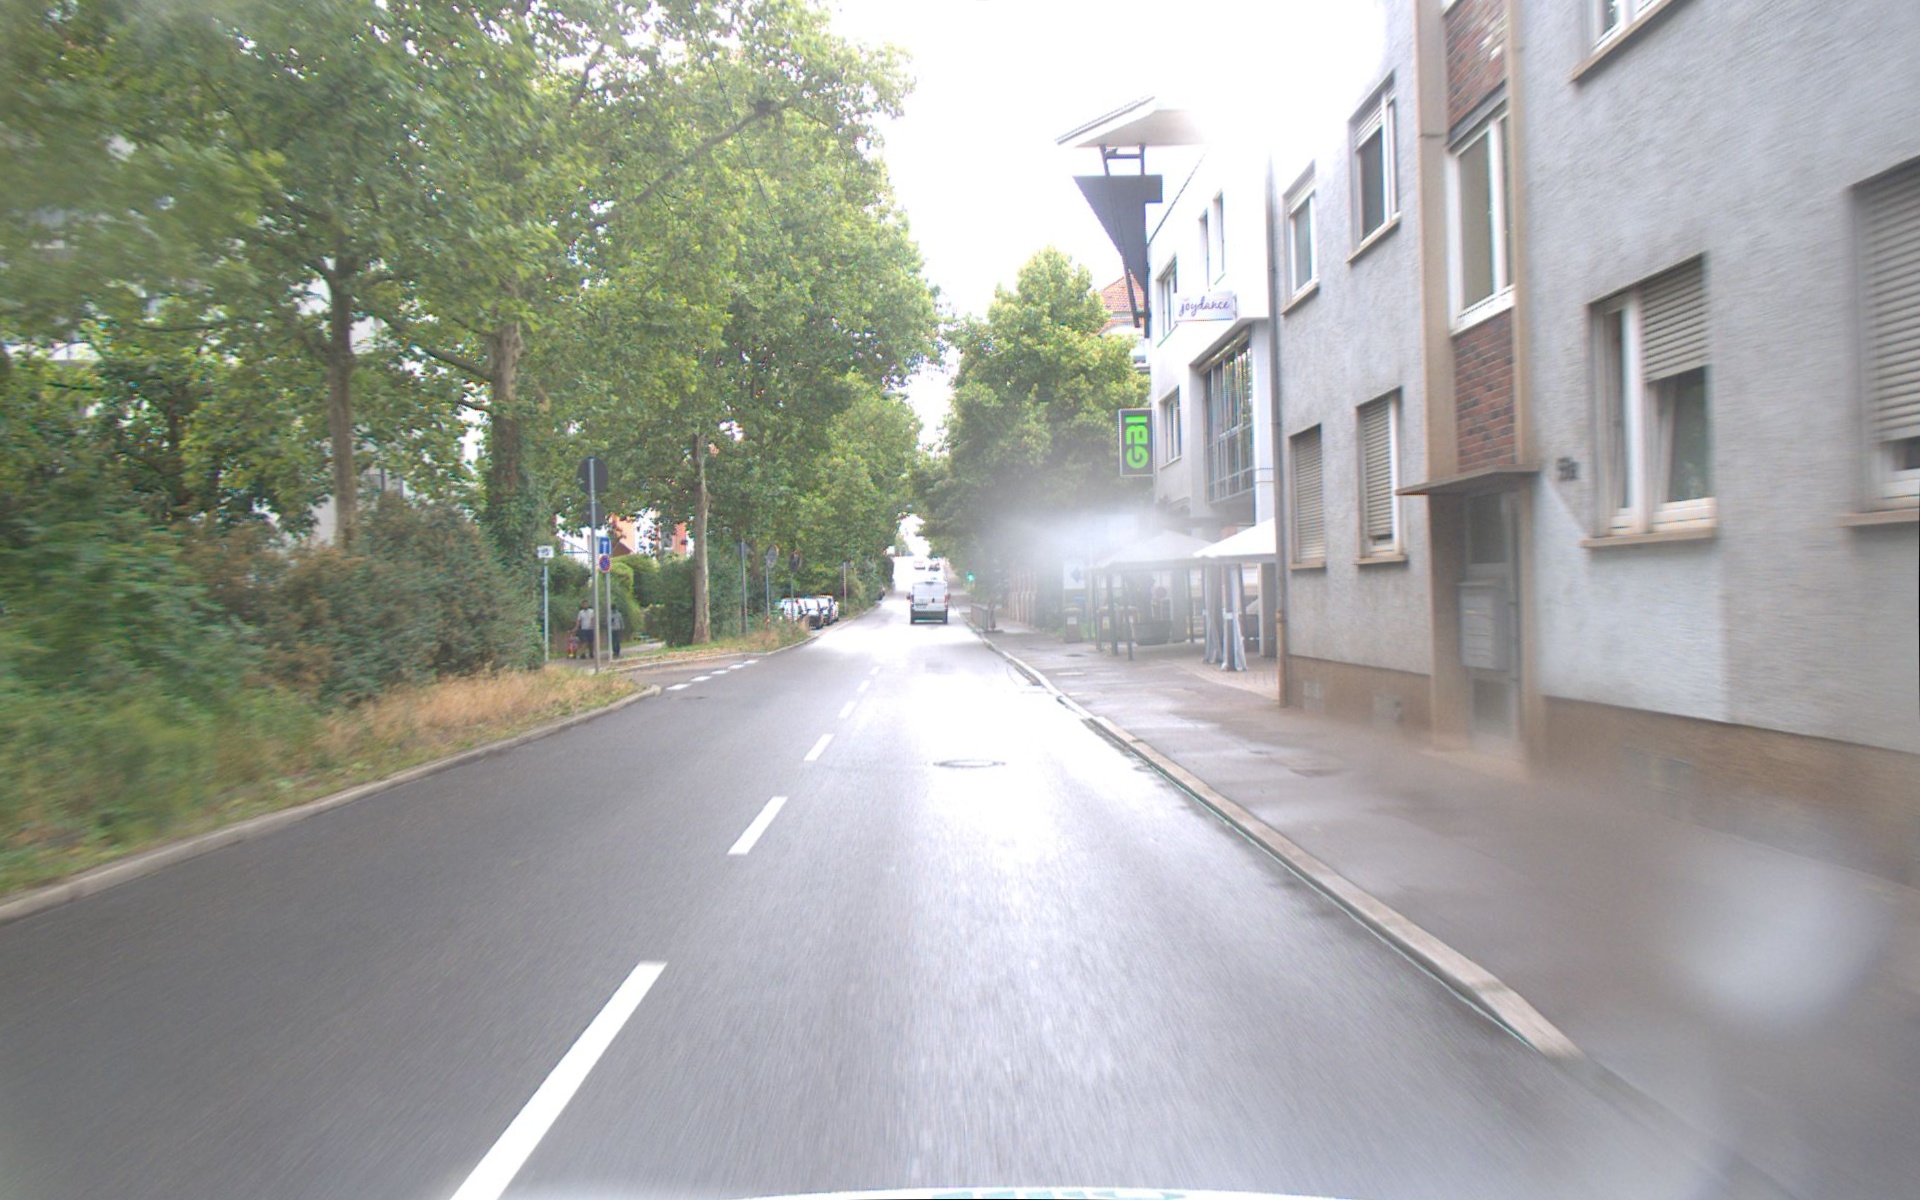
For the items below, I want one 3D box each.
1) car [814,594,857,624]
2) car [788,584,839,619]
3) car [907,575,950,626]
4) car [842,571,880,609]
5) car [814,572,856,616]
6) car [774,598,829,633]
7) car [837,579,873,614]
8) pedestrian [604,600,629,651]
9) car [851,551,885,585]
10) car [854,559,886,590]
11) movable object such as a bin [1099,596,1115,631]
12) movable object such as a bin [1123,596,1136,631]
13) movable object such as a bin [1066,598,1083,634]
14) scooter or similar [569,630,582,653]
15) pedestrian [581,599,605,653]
[{"bbox_3d":[-7.453,0.559,99.446,2.170,1.721,4.609,0,-2,1],"label":"car"},{"bbox_3d":[-7.664,0.113,86.665,2.170,1.759,4.609,0,-1,1],"label":"car"},{"bbox_3d":[-1.663,0.046,88.947,2.236,2.597,3.999,-1,-2,-1],"label":"car"},{"bbox_3d":[-6.558,-0.634,109.854,2.170,2.334,4.609,0,-2,1],"label":"car"},{"bbox_3d":[-7.877,-0.358,104.743,2.170,2.578,4.609,0,-2,1],"label":"car"},{"bbox_3d":[-7.689,0.772,80.578,2.170,1.620,4.609,0,-2,1],"label":"car"},{"bbox_3d":[-7.538,-0.222,119.255,2.170,2.334,4.609,0,-2,1],"label":"car"},{"bbox_3d":[-10.928,0.812,52.633,0.667,1.598,0.622,0,-1,-4],"label":"pedestrian"},{"bbox_3d":[-6.984,-2.424,126.075,2.170,2.334,4.609,0,-3,1],"label":"car"},{"bbox_3d":[-7.233,-2.022,133.516,2.169,2.334,4.610,0,-2,2],"label":"car"},{"bbox_3d":[4.601,0.437,51.755,0.392,1.085,0.358,-1,-2,-7],"label":"movable object such as a bin"},{"bbox_3d":[5.296,0.411,51.760,0.349,1.085,0.358,0,-2,-7],"label":"movable object such as a bin"},{"bbox_3d":[3.584,0.508,51.734,0.392,1.085,0.358,-4,-1,-7],"label":"movable object such as a bin"},{"bbox_3d":[-11.617,1.262,49.945,0.301,0.693,0.388,0,-2,-4],"label":"scooter or similar"},{"bbox_3d":[-11.093,0.785,50.014,0.626,1.640,0.622,0,-2,-4],"label":"pedestrian"}]
